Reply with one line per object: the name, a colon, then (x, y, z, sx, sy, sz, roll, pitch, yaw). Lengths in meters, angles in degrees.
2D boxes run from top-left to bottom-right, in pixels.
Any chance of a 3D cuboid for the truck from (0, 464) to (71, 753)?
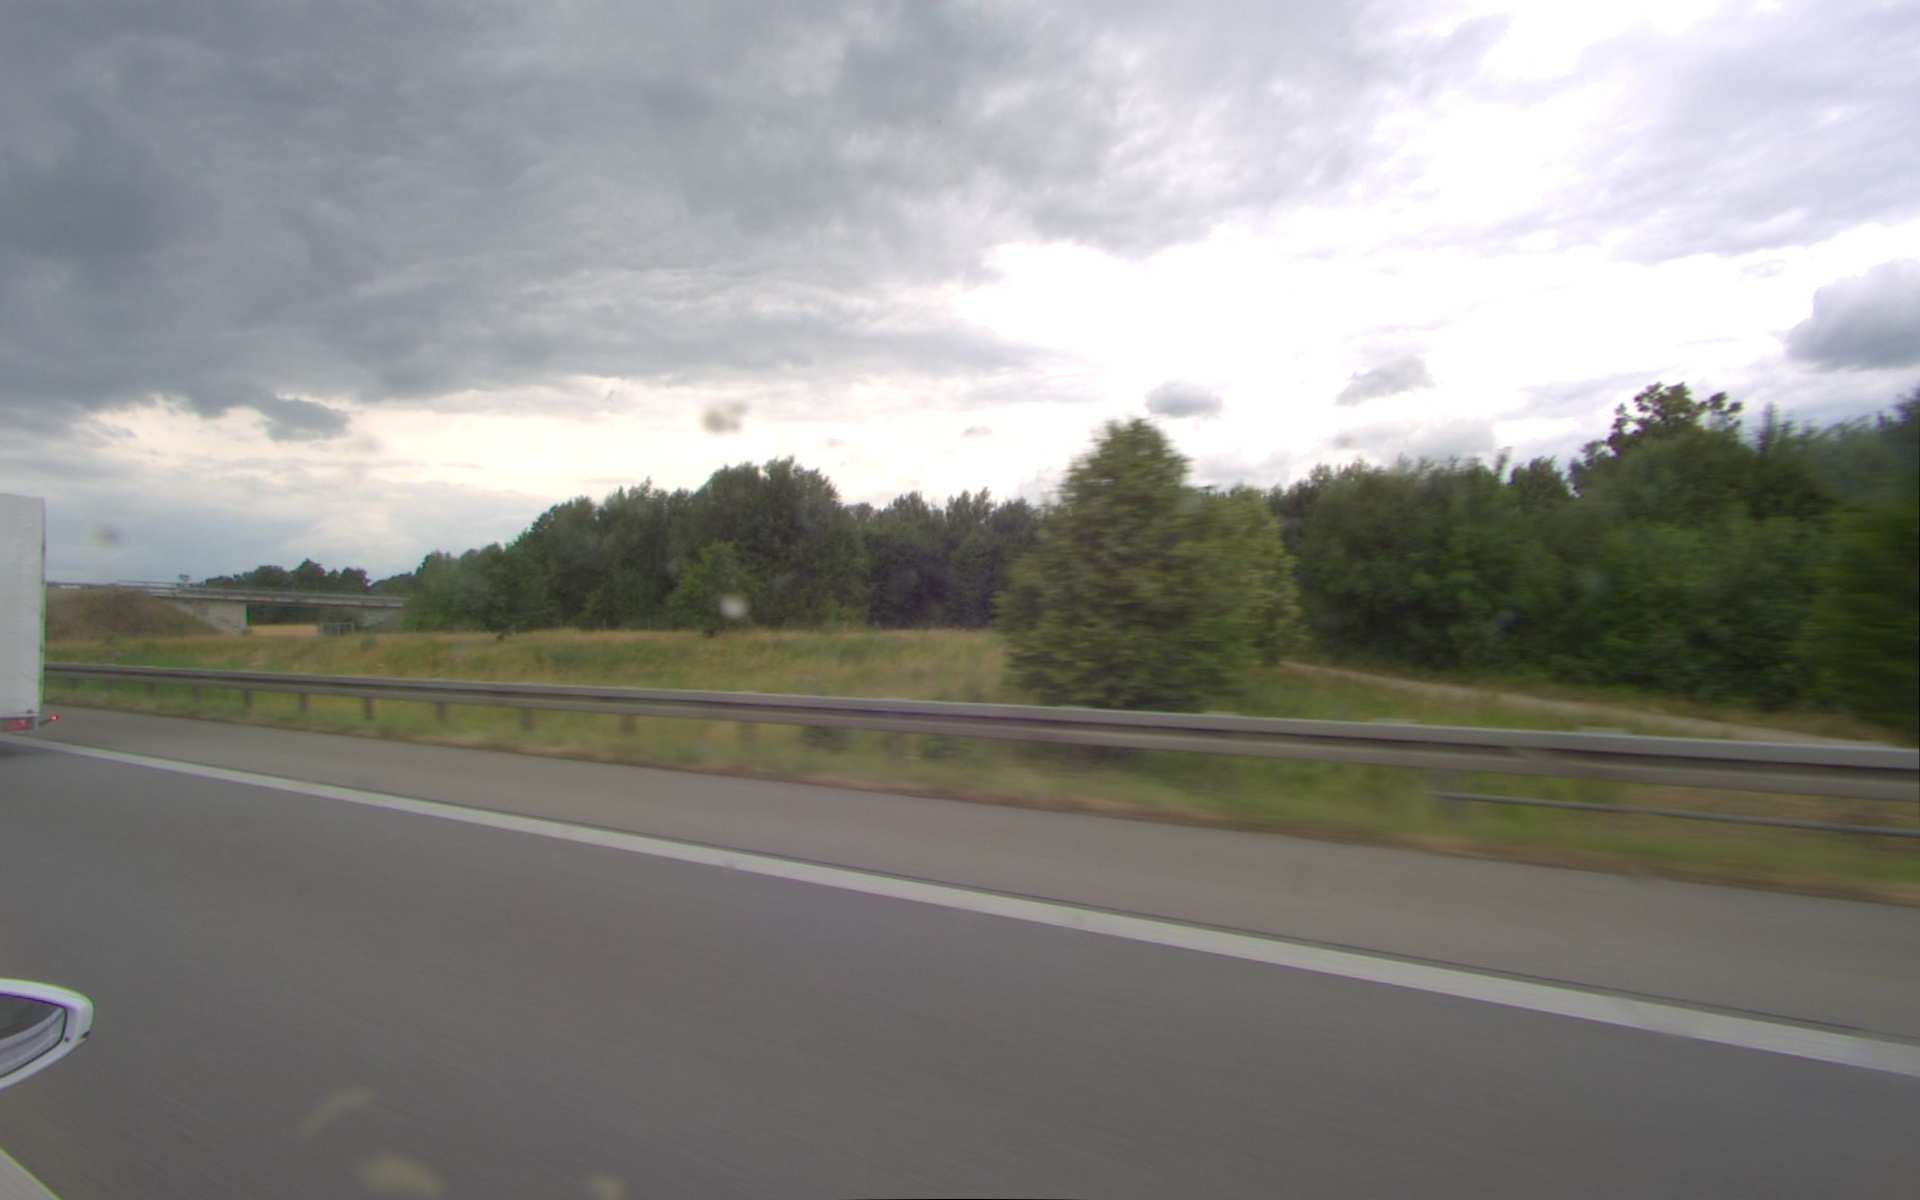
truck: (-14.153, 0.125, 12.623, 7.038, 3.264, 2.412, -1, -1, 31)
